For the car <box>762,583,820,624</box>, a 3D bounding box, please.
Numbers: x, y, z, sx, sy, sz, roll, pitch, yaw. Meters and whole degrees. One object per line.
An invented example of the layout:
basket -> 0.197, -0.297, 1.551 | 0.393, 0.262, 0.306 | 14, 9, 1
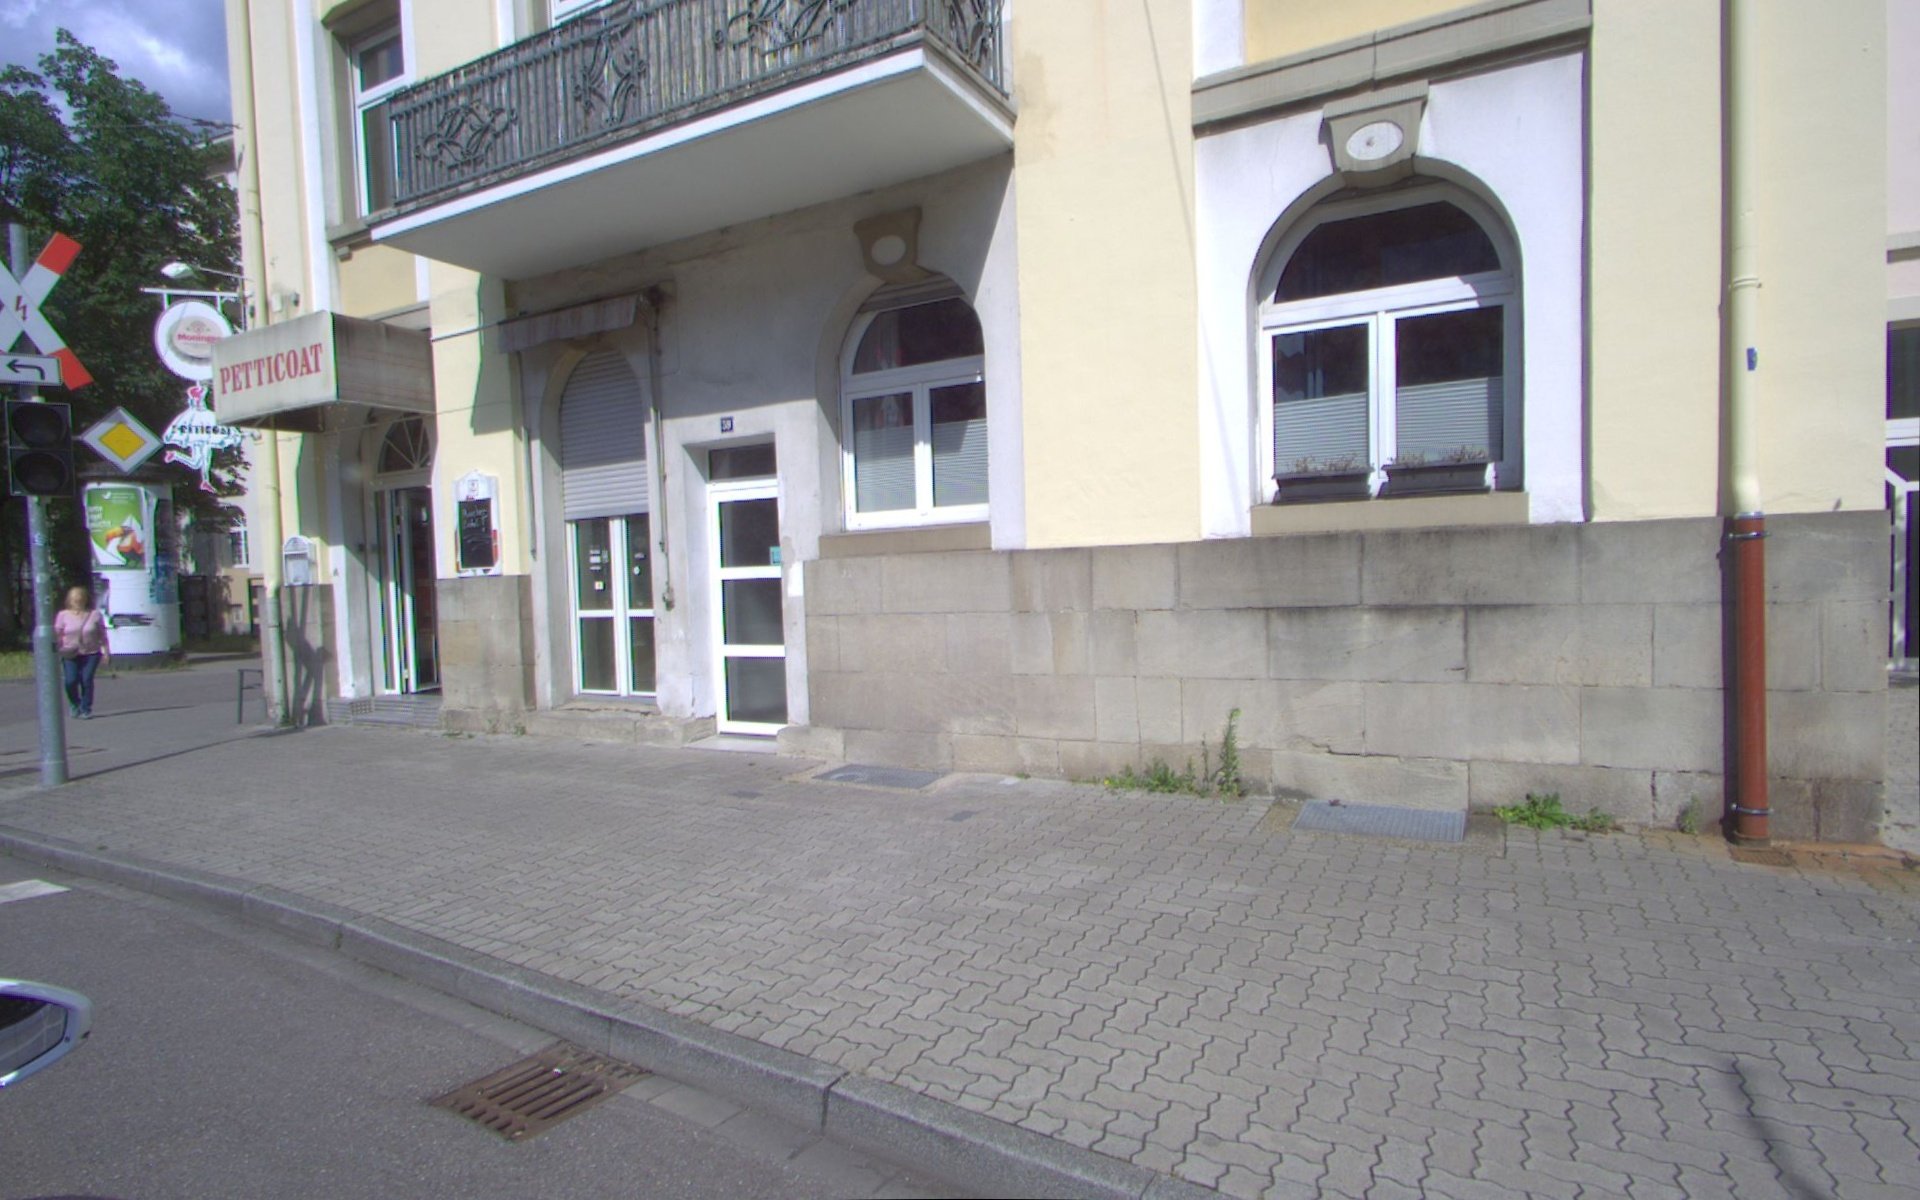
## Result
car -> -6.624, 0.113, 38.959 | 1.363, 1.476, 3.253 | -2, 2, -25

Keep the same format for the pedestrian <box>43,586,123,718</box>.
pedestrian -> -11.704, 0.672, 13.385 | 0.666, 1.671, 0.757 | -4, 3, -38

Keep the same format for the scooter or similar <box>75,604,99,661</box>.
scooter or similar -> -19.160, 0.707, 21.982 | 0.303, 1.205, 1.151 | -4, 3, -43
